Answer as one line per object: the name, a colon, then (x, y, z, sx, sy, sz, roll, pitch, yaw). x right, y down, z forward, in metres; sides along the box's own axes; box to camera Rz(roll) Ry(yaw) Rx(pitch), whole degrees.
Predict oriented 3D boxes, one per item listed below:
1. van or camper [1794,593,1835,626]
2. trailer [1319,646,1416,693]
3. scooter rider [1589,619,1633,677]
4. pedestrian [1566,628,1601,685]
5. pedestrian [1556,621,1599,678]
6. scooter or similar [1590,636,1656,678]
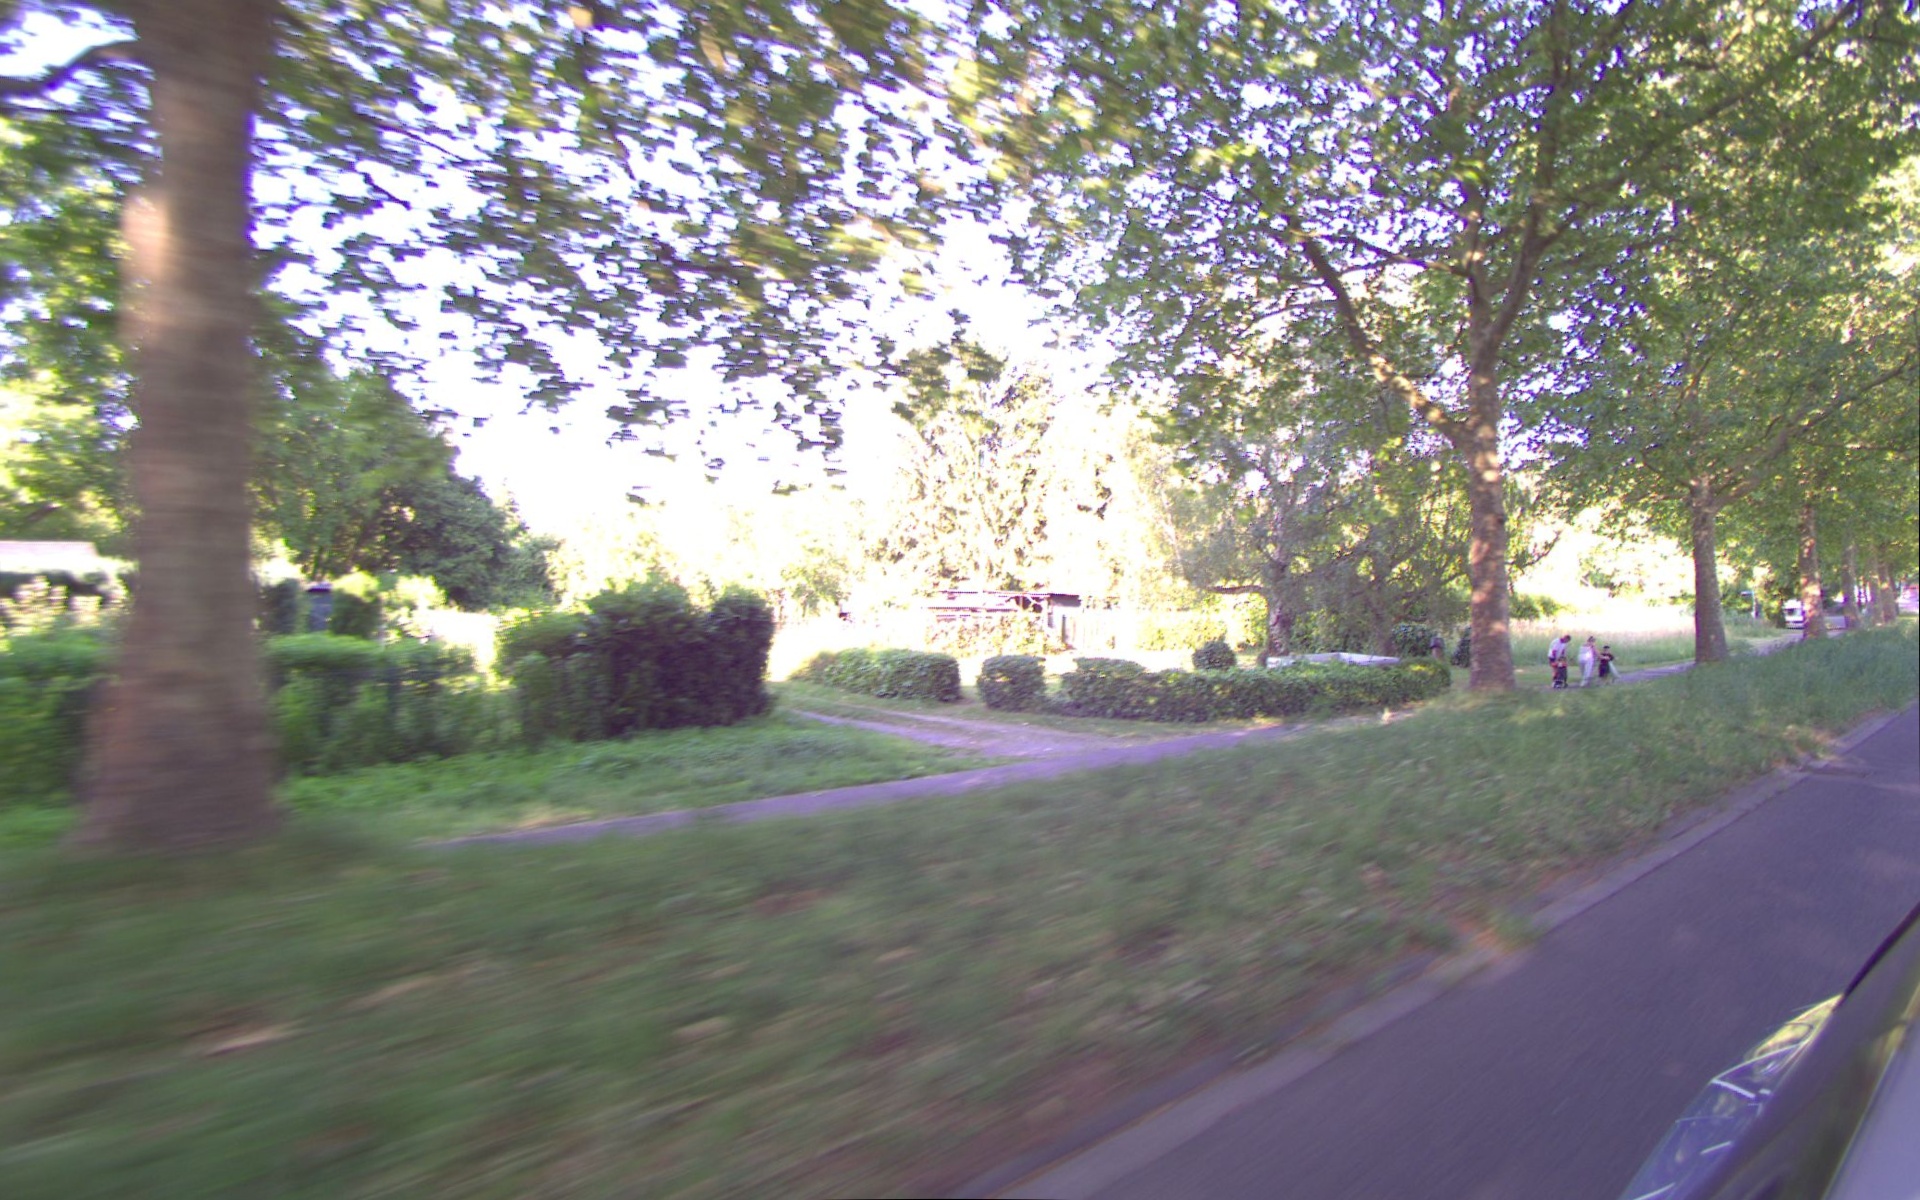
van or camper: (75.484, 0.784, 89.370, 2.380, 2.835, 5.596, 0, 0, 44)
trailer: (10.859, 1.822, 27.022, 1.179, 1.066, 2.123, -1, 0, -37)
scooter rider: (18.400, 1.350, 28.610, 0.833, 1.596, 0.780, -1, 0, 17)
pedestrian: (18.362, 1.635, 29.783, 0.839, 1.596, 1.192, -1, 0, 34)
pedestrian: (17.565, 1.395, 28.810, 0.832, 1.596, 0.781, -1, 0, 14)
scooter or similar: (18.742, 1.617, 28.613, 1.570, 1.149, 0.340, -1, 0, 4)
